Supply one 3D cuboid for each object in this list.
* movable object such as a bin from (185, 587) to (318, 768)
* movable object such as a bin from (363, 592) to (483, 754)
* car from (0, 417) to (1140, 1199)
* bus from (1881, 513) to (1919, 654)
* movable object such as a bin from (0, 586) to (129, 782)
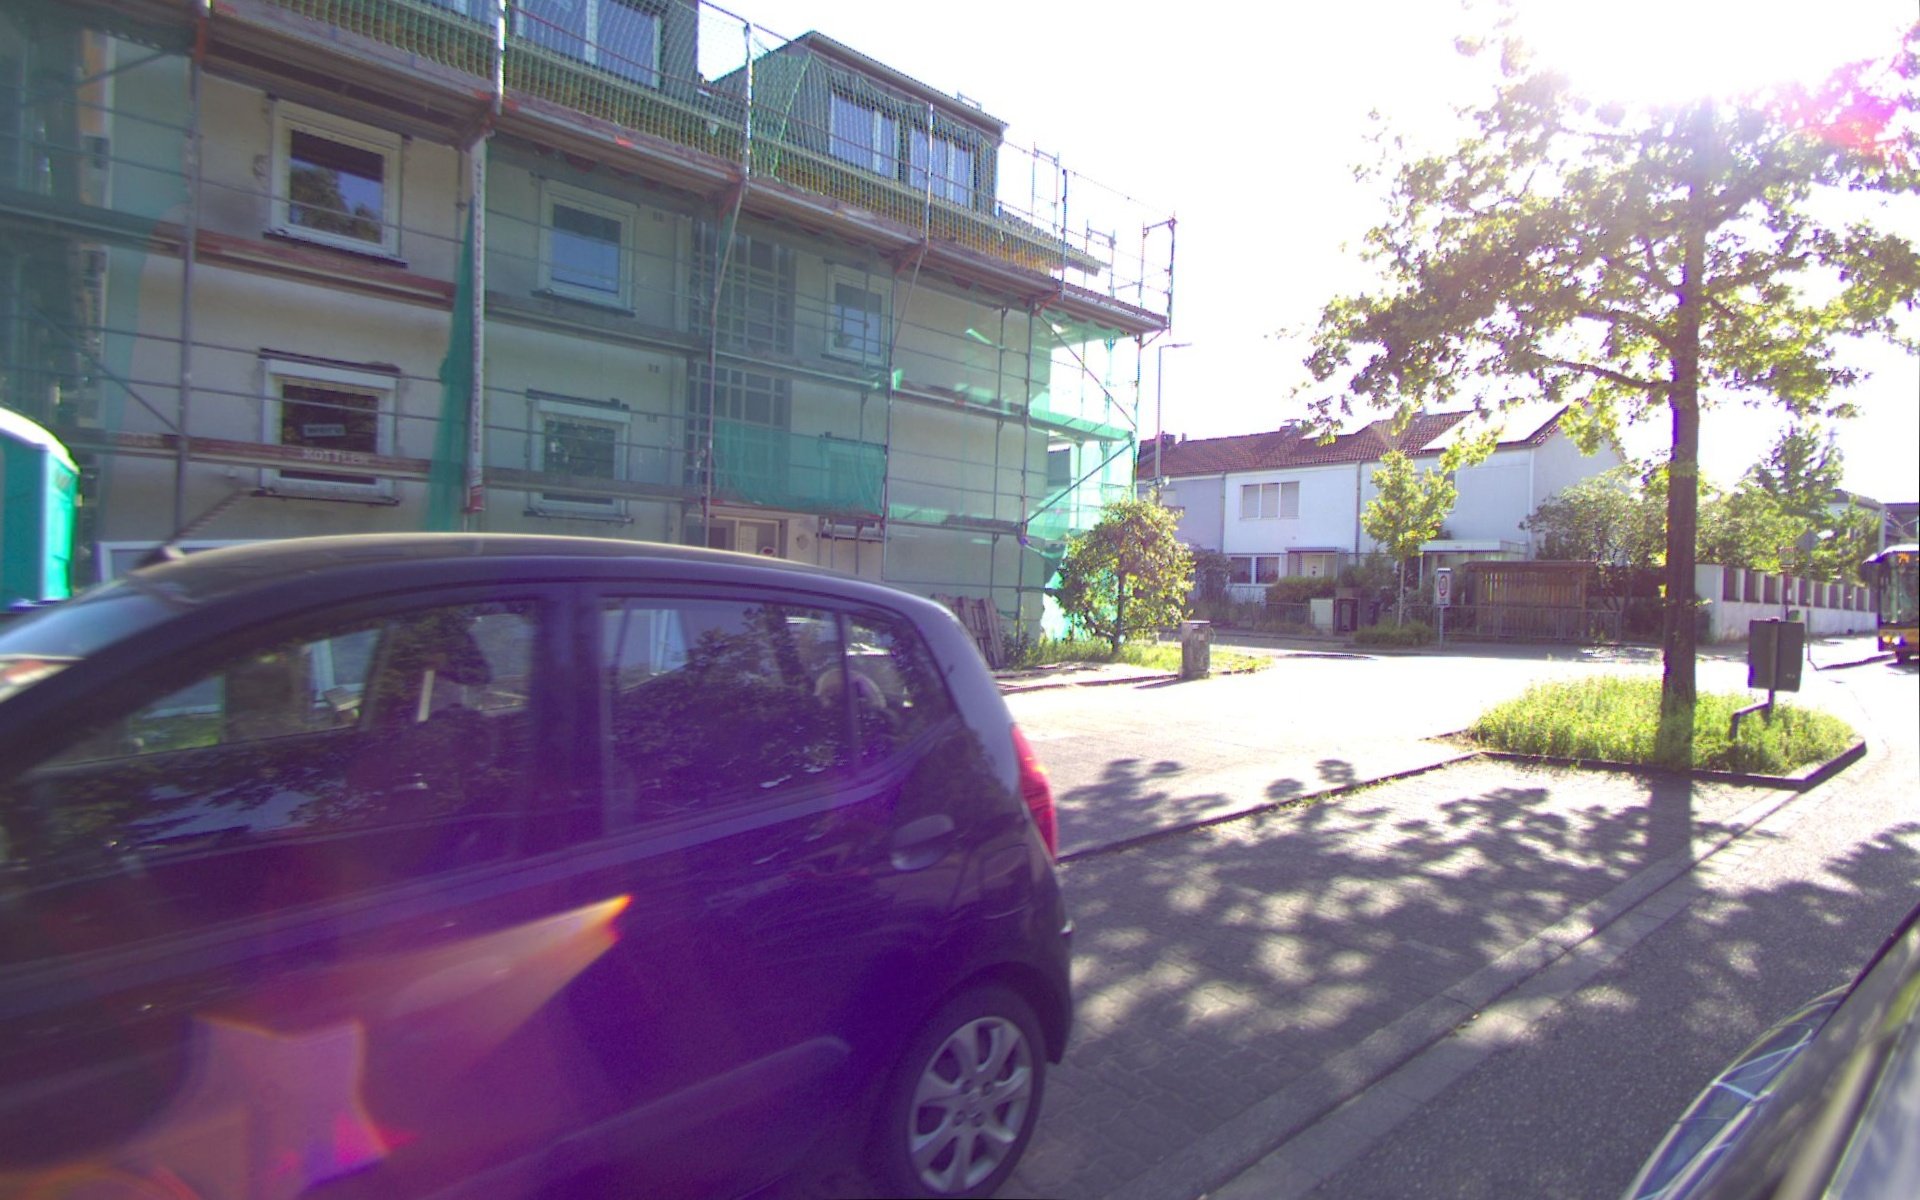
[{"bbox_3d":[-4.572,0.464,6.528,0.635,1.082,0.604,0,1,-42],"label":"movable object such as a bin"},{"bbox_3d":[-3.869,0.494,7.287,0.635,1.082,0.604,0,1,-42],"label":"movable object such as a bin"},{"bbox_3d":[-1.506,0.542,1.938,3.686,1.598,1.676,0,3,-42],"label":"car"},{"bbox_3d":[28.956,-0.437,28.314,12.173,3.500,2.765,-1,3,-39],"label":"bus"},{"bbox_3d":[-5.348,0.467,6.054,0.557,1.082,0.604,0,1,-42],"label":"movable object such as a bin"}]
